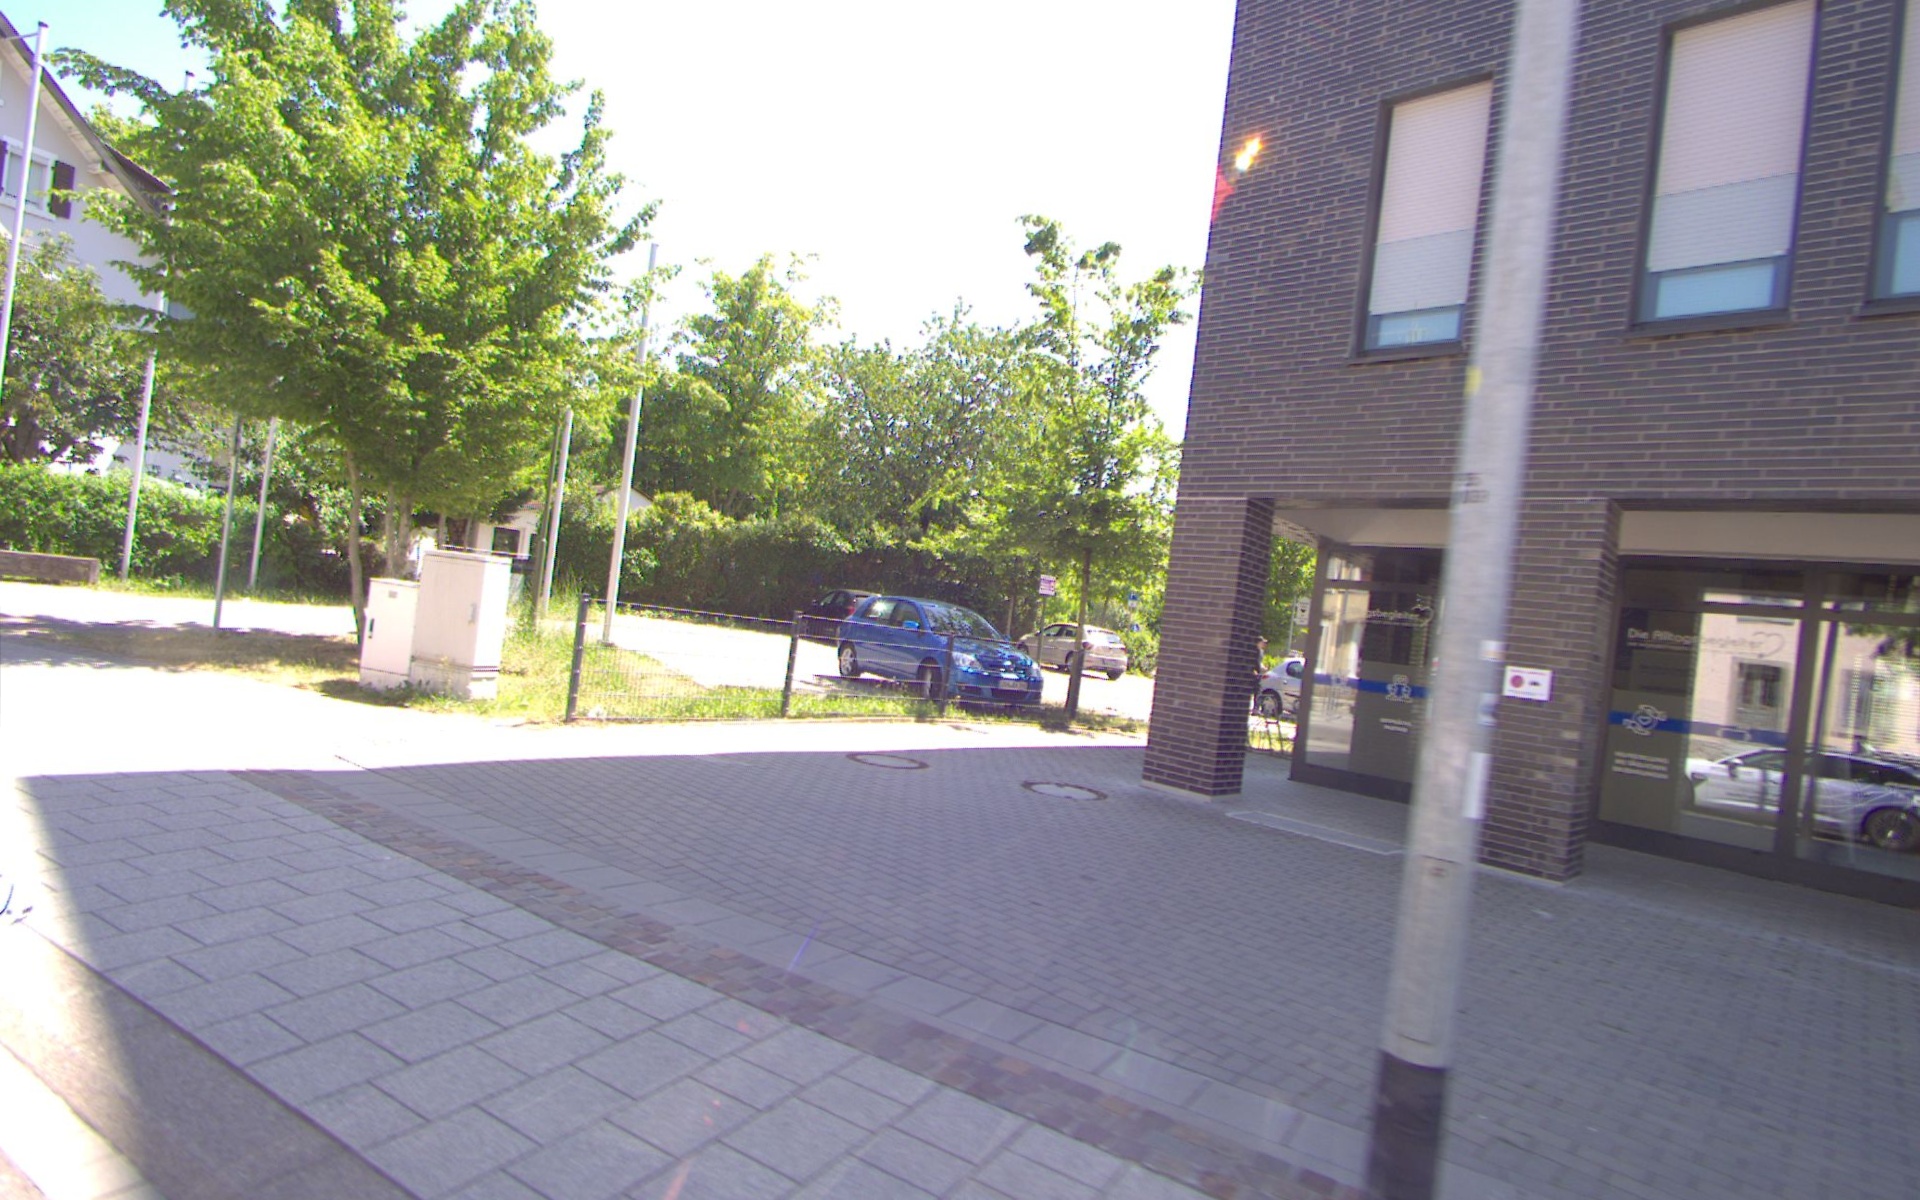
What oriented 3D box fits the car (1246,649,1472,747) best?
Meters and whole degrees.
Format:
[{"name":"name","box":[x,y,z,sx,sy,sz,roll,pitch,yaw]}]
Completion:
[{"name":"car","box":[8.460,2.053,21.676,1.800,1.458,4.135,7,-1,-34]}]

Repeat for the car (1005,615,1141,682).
[{"name":"car","box":[3.283,1.402,29.964,1.857,1.459,3.967,7,0,-31]}]

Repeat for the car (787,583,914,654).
[{"name":"car","box":[-3.003,0.452,26.906,1.856,1.459,3.970,7,0,-29]}]

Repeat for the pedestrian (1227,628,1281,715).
[{"name":"pedestrian","box":[6.484,1.568,22.195,0.631,1.813,0.692,6,1,-37]}]

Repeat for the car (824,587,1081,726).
[{"name":"car","box":[-0.266,0.777,15.351,1.801,1.458,4.134,9,-1,-34]}]
